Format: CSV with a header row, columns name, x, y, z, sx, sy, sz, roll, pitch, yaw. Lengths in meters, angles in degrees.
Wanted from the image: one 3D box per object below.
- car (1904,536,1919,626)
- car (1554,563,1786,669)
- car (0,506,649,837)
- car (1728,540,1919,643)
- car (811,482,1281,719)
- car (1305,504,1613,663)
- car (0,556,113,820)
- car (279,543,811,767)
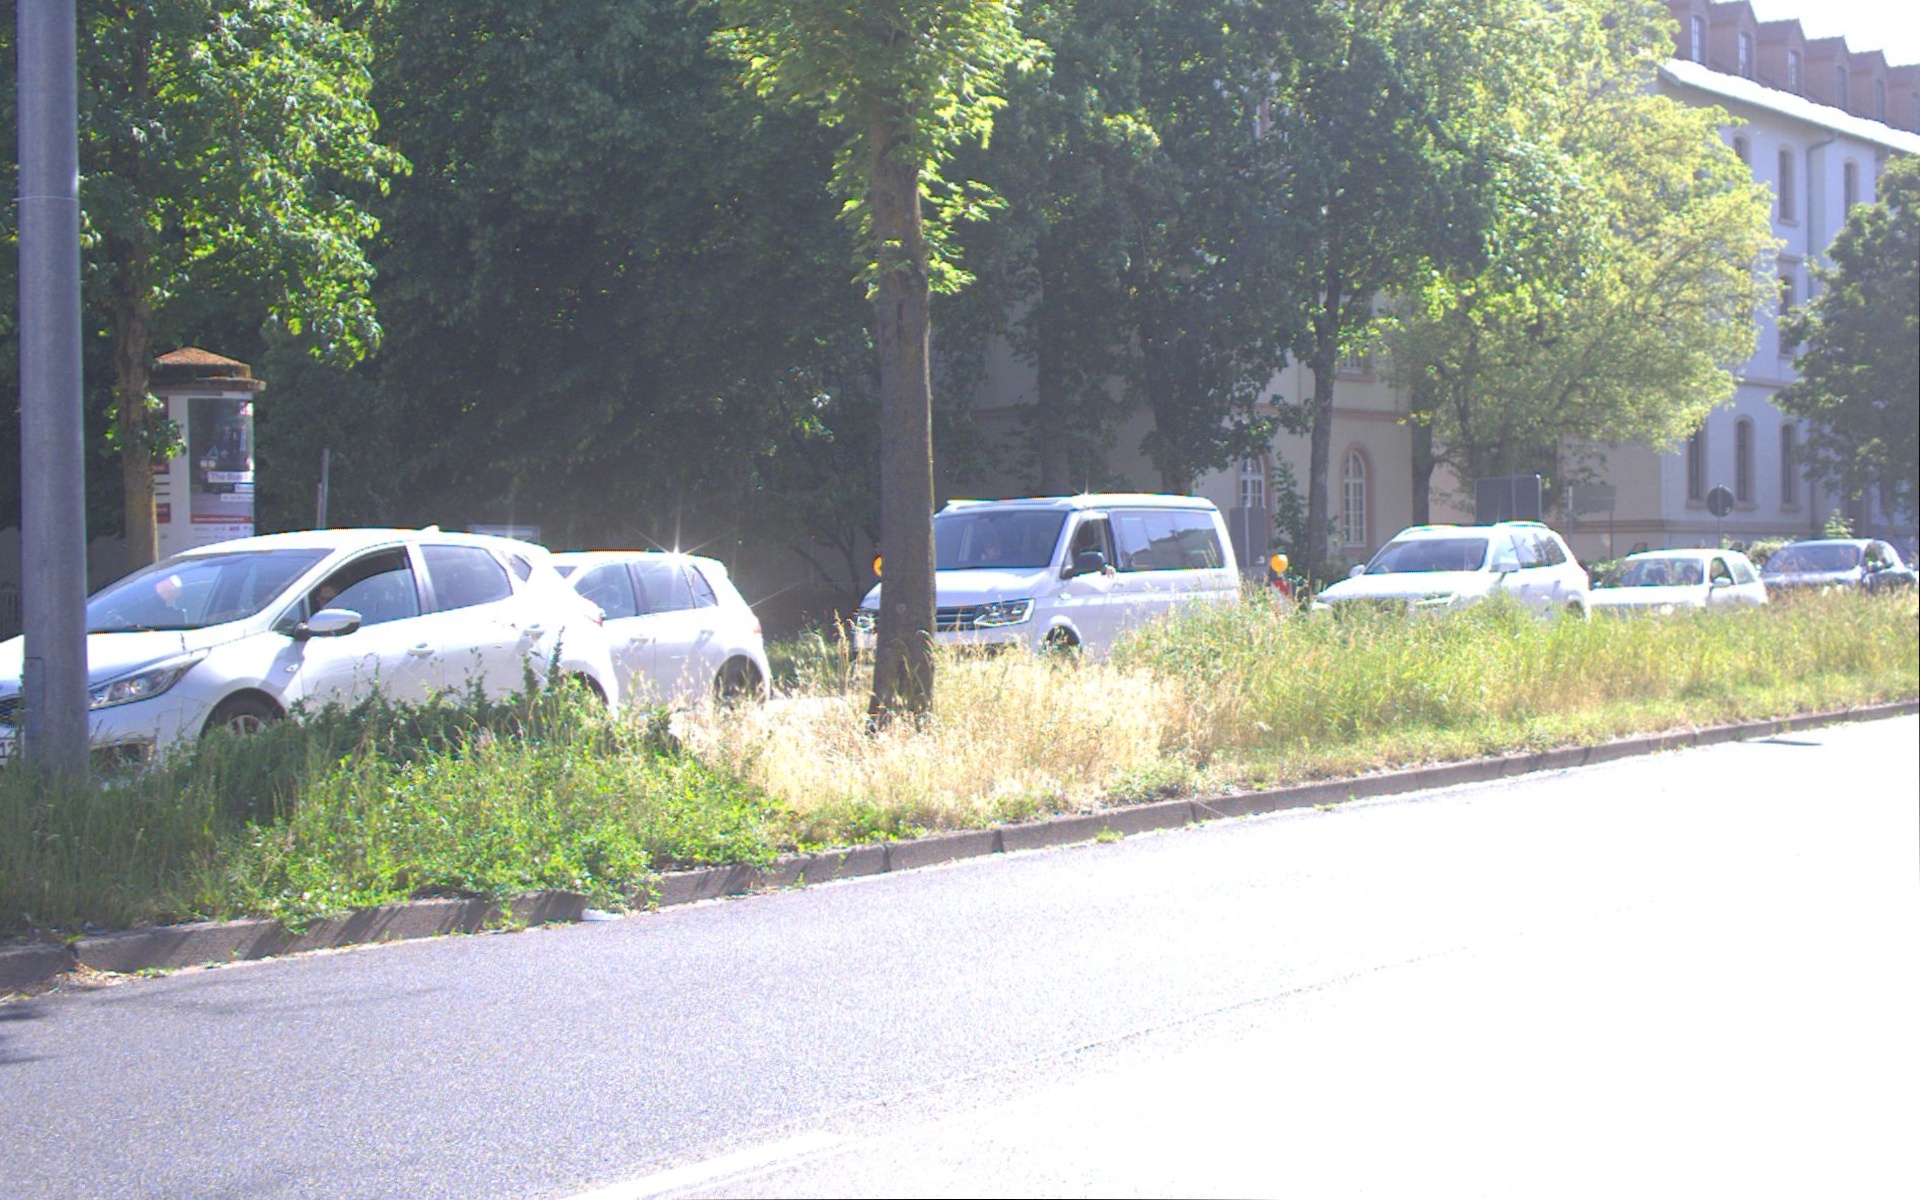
name,x,y,z,sx,sy,sz,roll,pitch,yaw
car,17.836,-0.349,59.586,1.799,1.514,4.251,0,1,31
car,9.653,0.179,46.530,1.799,1.347,4.251,0,1,31
car,-3.589,0.294,17.953,1.799,1.514,4.198,0,1,31
car,13.331,-0.150,52.639,1.799,1.514,4.437,0,1,31
car,0.908,-0.029,32.079,2.237,2.021,5.009,0,1,31
car,5.925,-0.213,40.290,1.799,1.737,5.023,0,1,31
car,-6.942,0.496,19.107,1.799,1.514,4.339,1,1,31
car,-2.958,0.342,25.352,1.799,1.514,4.072,0,1,31
